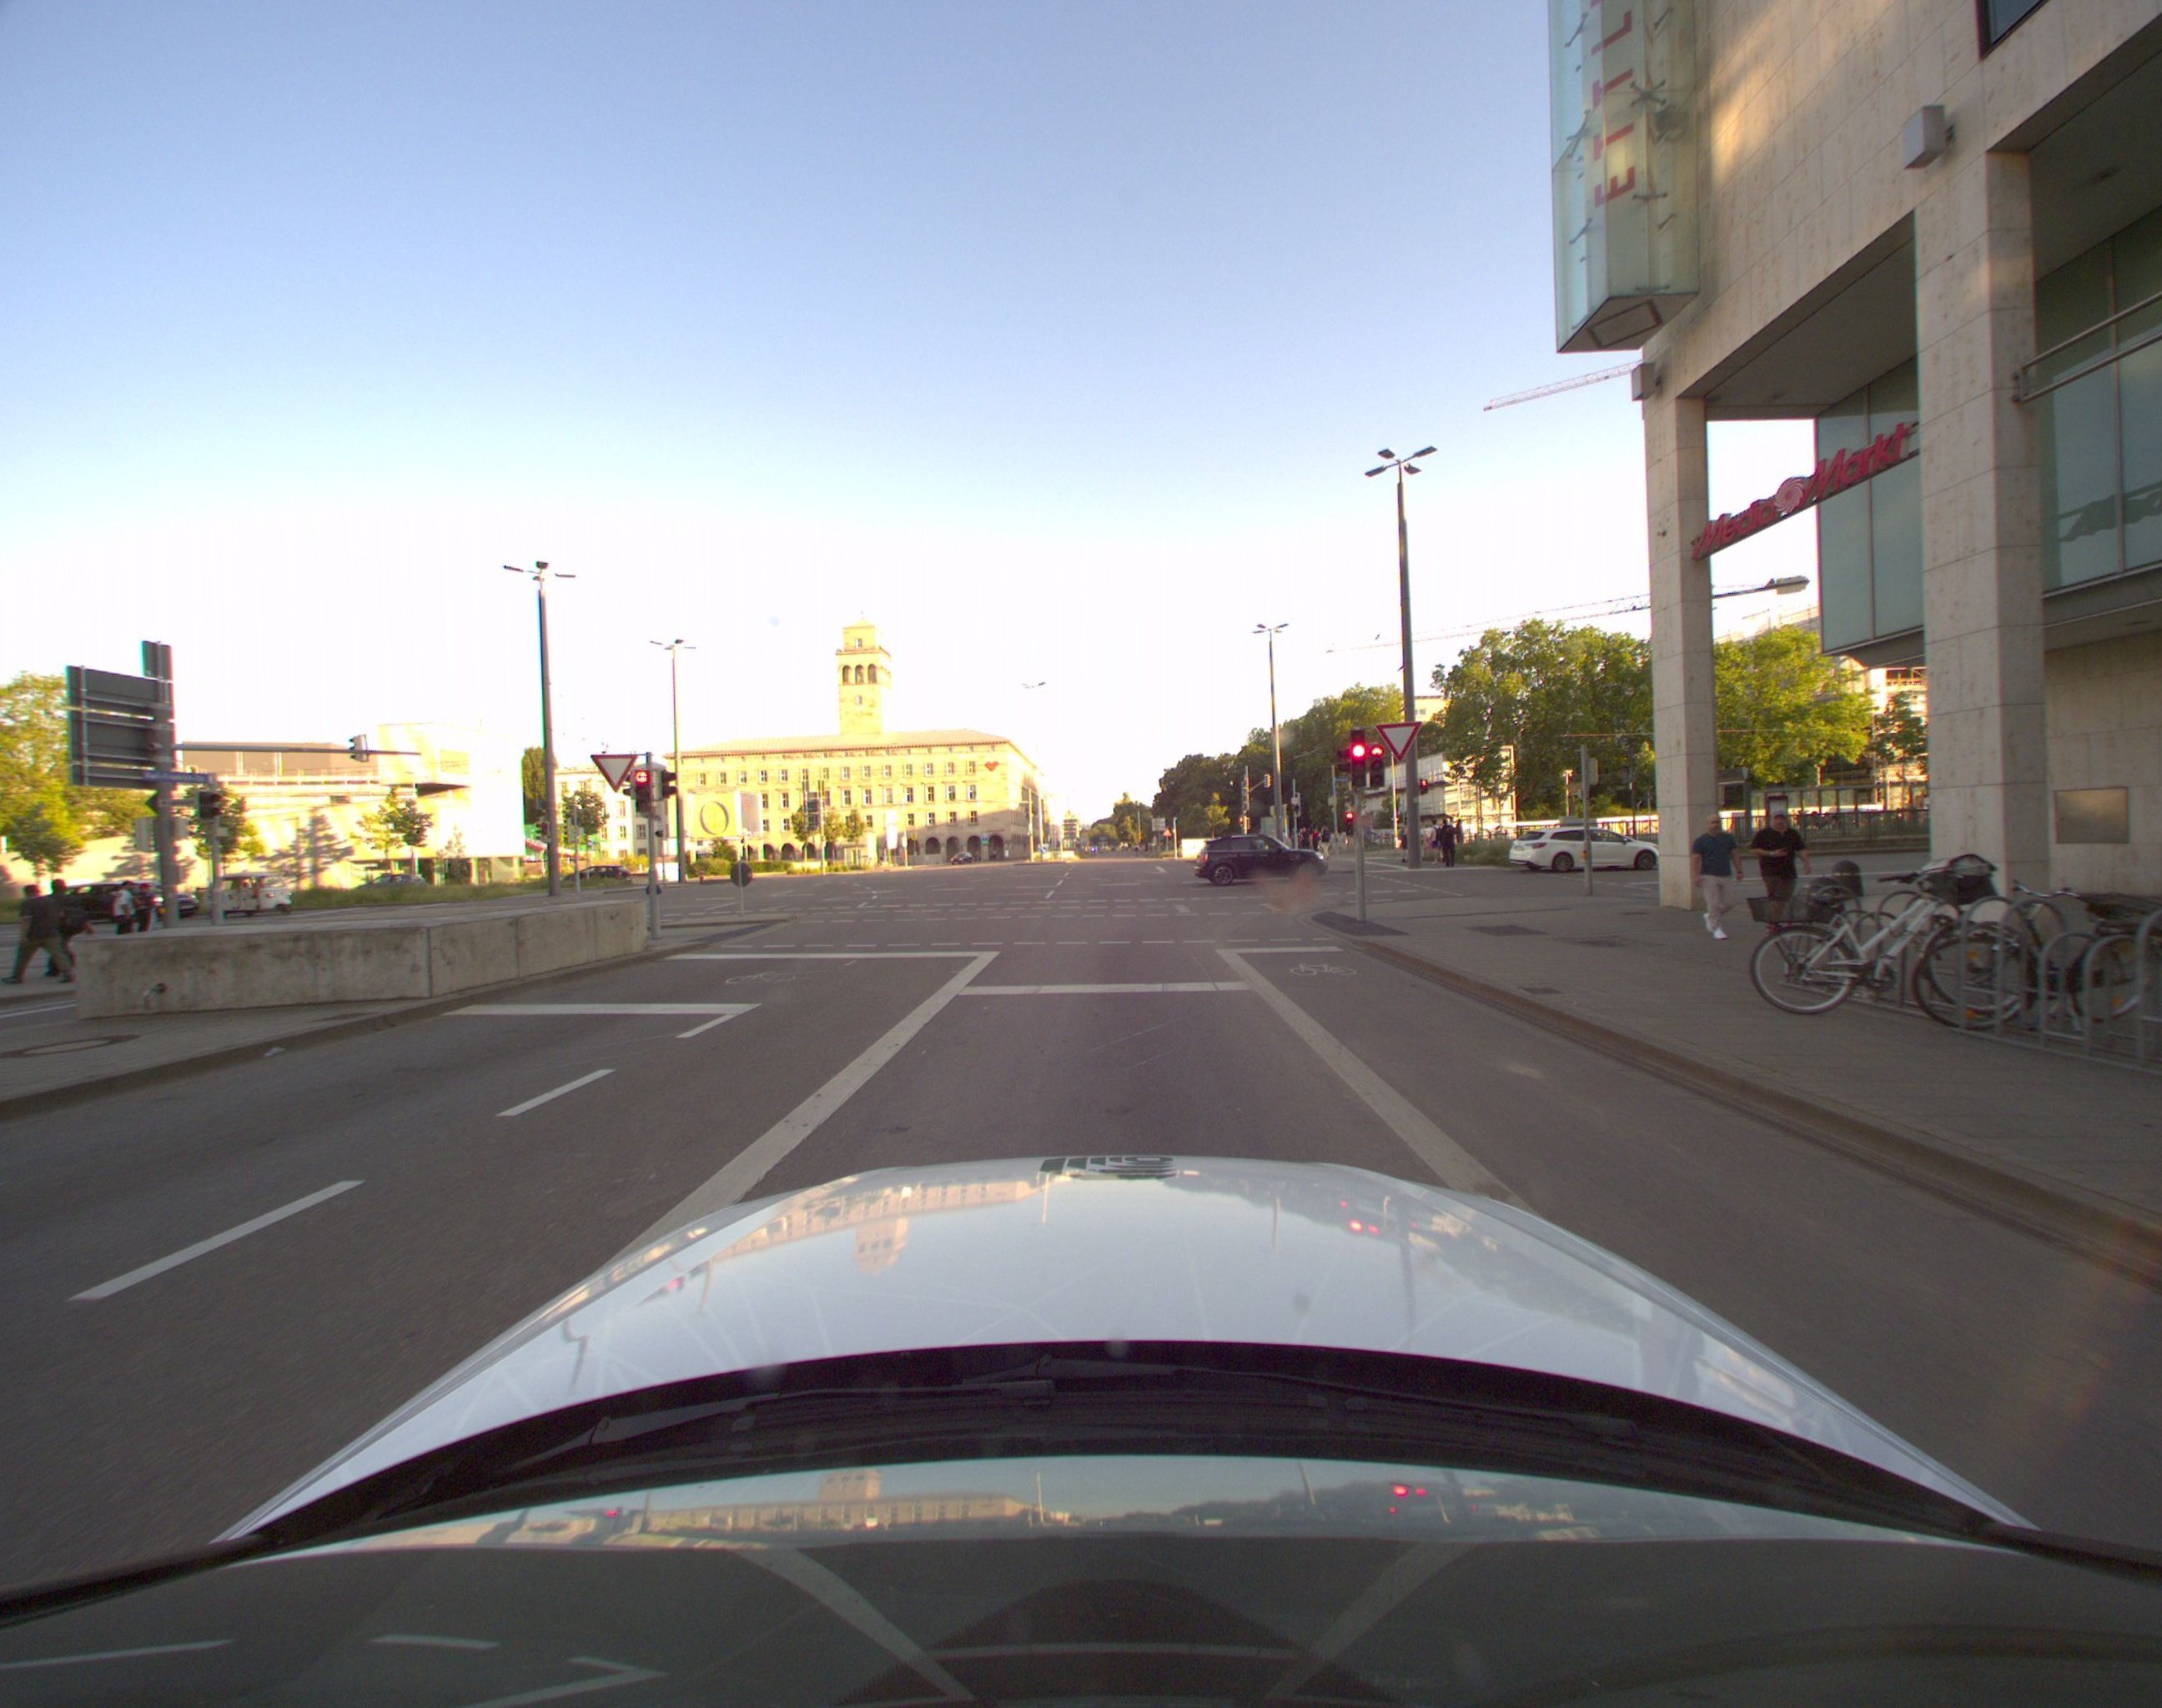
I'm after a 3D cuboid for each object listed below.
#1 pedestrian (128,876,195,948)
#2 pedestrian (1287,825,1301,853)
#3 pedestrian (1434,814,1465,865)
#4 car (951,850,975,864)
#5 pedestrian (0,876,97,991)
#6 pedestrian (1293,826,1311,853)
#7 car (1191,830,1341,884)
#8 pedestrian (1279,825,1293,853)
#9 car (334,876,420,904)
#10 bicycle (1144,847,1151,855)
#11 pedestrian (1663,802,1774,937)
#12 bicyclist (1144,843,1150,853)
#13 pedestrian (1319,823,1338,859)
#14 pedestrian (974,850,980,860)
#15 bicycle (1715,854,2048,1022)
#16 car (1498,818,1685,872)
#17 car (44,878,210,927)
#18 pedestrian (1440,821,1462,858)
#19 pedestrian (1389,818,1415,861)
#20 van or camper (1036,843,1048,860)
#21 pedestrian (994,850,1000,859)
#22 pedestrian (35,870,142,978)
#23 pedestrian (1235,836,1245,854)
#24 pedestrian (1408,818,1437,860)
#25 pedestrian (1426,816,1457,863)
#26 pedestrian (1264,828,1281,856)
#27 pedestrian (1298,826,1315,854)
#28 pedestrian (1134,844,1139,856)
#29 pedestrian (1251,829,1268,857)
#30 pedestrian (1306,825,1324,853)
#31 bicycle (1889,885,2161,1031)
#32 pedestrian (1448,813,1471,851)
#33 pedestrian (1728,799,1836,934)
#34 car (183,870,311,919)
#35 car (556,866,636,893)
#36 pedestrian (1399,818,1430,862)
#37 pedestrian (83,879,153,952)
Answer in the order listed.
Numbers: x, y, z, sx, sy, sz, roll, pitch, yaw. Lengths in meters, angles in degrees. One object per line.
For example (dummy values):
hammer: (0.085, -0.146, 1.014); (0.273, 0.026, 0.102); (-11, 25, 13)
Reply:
pedestrian: (-24.115, 1.497, 21.371); (0.866, 1.776, 0.733); (-5, 1, -31)
pedestrian: (13.343, -0.960, 51.079); (0.802, 1.730, 0.690); (-2, 1, 14)
pedestrian: (13.722, -0.541, 30.316); (0.884, 1.830, 0.692); (-2, 1, 31)
car: (-15.442, 0.380, 106.752); (1.982, 1.662, 4.010); (-2, 1, 9)
pedestrian: (-17.098, 1.274, 13.458); (0.742, 1.776, 0.856); (-2, 1, -27)
pedestrian: (14.205, -0.923, 52.435); (0.690, 1.730, 0.803); (-3, 1, -31)
car: (5.975, 0.074, 26.741); (4.444, 1.495, 2.129); (-2, 1, 1)
pedestrian: (13.023, -0.943, 51.775); (0.802, 1.730, 0.690); (-2, 1, 14)
car: (-43.119, 2.185, 49.942); (3.707, 1.452, 1.543); (-3, 1, -5)
bicycle: (7.997, -0.396, 98.207); (0.650, 0.970, 1.484); (-2, 1, -1)
pedestrian: (8.965, 0.212, 11.481); (0.857, 1.776, 0.741); (-5, 0, 3)
bicyclist: (7.965, -0.706, 98.185); (0.650, 1.223, 0.861); (-2, 1, -2)
pedestrian: (11.954, -0.627, 39.313); (0.689, 1.730, 0.742); (-2, 1, 4)
pedestrian: (-16.189, 0.154, 126.908); (0.631, 1.567, 0.776); (-2, 1, 3)
bicycle: (6.256, 0.646, 6.475); (1.803, 1.212, 0.573); (-2, 0, 17)
car: (16.595, -0.287, 26.692); (4.779, 1.495, 2.129); (-2, 1, 1)
car: (-37.911, 1.900, 32.455); (4.176, 1.592, 1.693); (-3, 1, -7)
pedestrian: (17.732, -0.673, 39.004); (0.682, 1.730, 0.840); (-2, 1, 6)
pedestrian: (13.388, -0.612, 33.983); (0.683, 1.730, 0.896); (-2, 1, 1)
van or camper: (-6.751, -0.438, 140.707); (1.878, 2.760, 4.930); (-2, 1, -1)
pedestrian: (-14.391, 0.084, 139.224); (0.769, 1.567, 0.636); (-2, 1, 3)
pedestrian: (-17.349, 1.195, 14.257); (0.737, 1.777, 0.862); (-2, 1, -4)
pedestrian: (15.890, -0.895, 81.354); (0.805, 1.729, 0.929); (-2, 1, 0)
pedestrian: (14.380, -0.626, 34.297); (0.897, 1.730, 0.682); (-3, 1, -24)
pedestrian: (14.333, -0.575, 32.406); (0.889, 1.840, 0.688); (-2, 1, 2)
pedestrian: (11.970, -0.758, 50.896); (0.805, 1.730, 0.688); (-2, 1, 0)
pedestrian: (14.099, -0.894, 50.998); (0.805, 1.730, 0.688); (-2, 1, 1)
pedestrian: (6.747, -0.499, 98.470); (0.521, 1.374, 0.687); (-2, 1, -2)
pedestrian: (11.150, -0.702, 50.905); (0.805, 1.730, 0.688); (-2, 1, 0)
pedestrian: (14.833, -0.930, 51.541); (0.689, 1.730, 0.804); (-3, 1, -24)
bicycle: (7.191, 0.747, 6.038); (1.861, 0.936, 0.516); (-2, 0, 0)
pedestrian: (17.785, -1.022, 38.278); (0.683, 1.730, 0.839); (-2, 1, 2)
pedestrian: (9.820, 0.159, 11.439); (0.753, 1.776, 0.741); (-5, 0, 3)
car: (-33.382, 1.590, 32.679); (3.133, 1.685, 1.605); (-3, 1, -12)
car: (-30.678, 1.591, 51.615); (3.973, 1.452, 1.542); (-3, 1, -8)
pedestrian: (13.408, -0.561, 32.750); (0.890, 1.730, 0.688); (-2, 1, 1)
pedestrian: (-24.940, 1.577, 21.121); (0.866, 1.776, 0.733); (-5, 1, -31)
